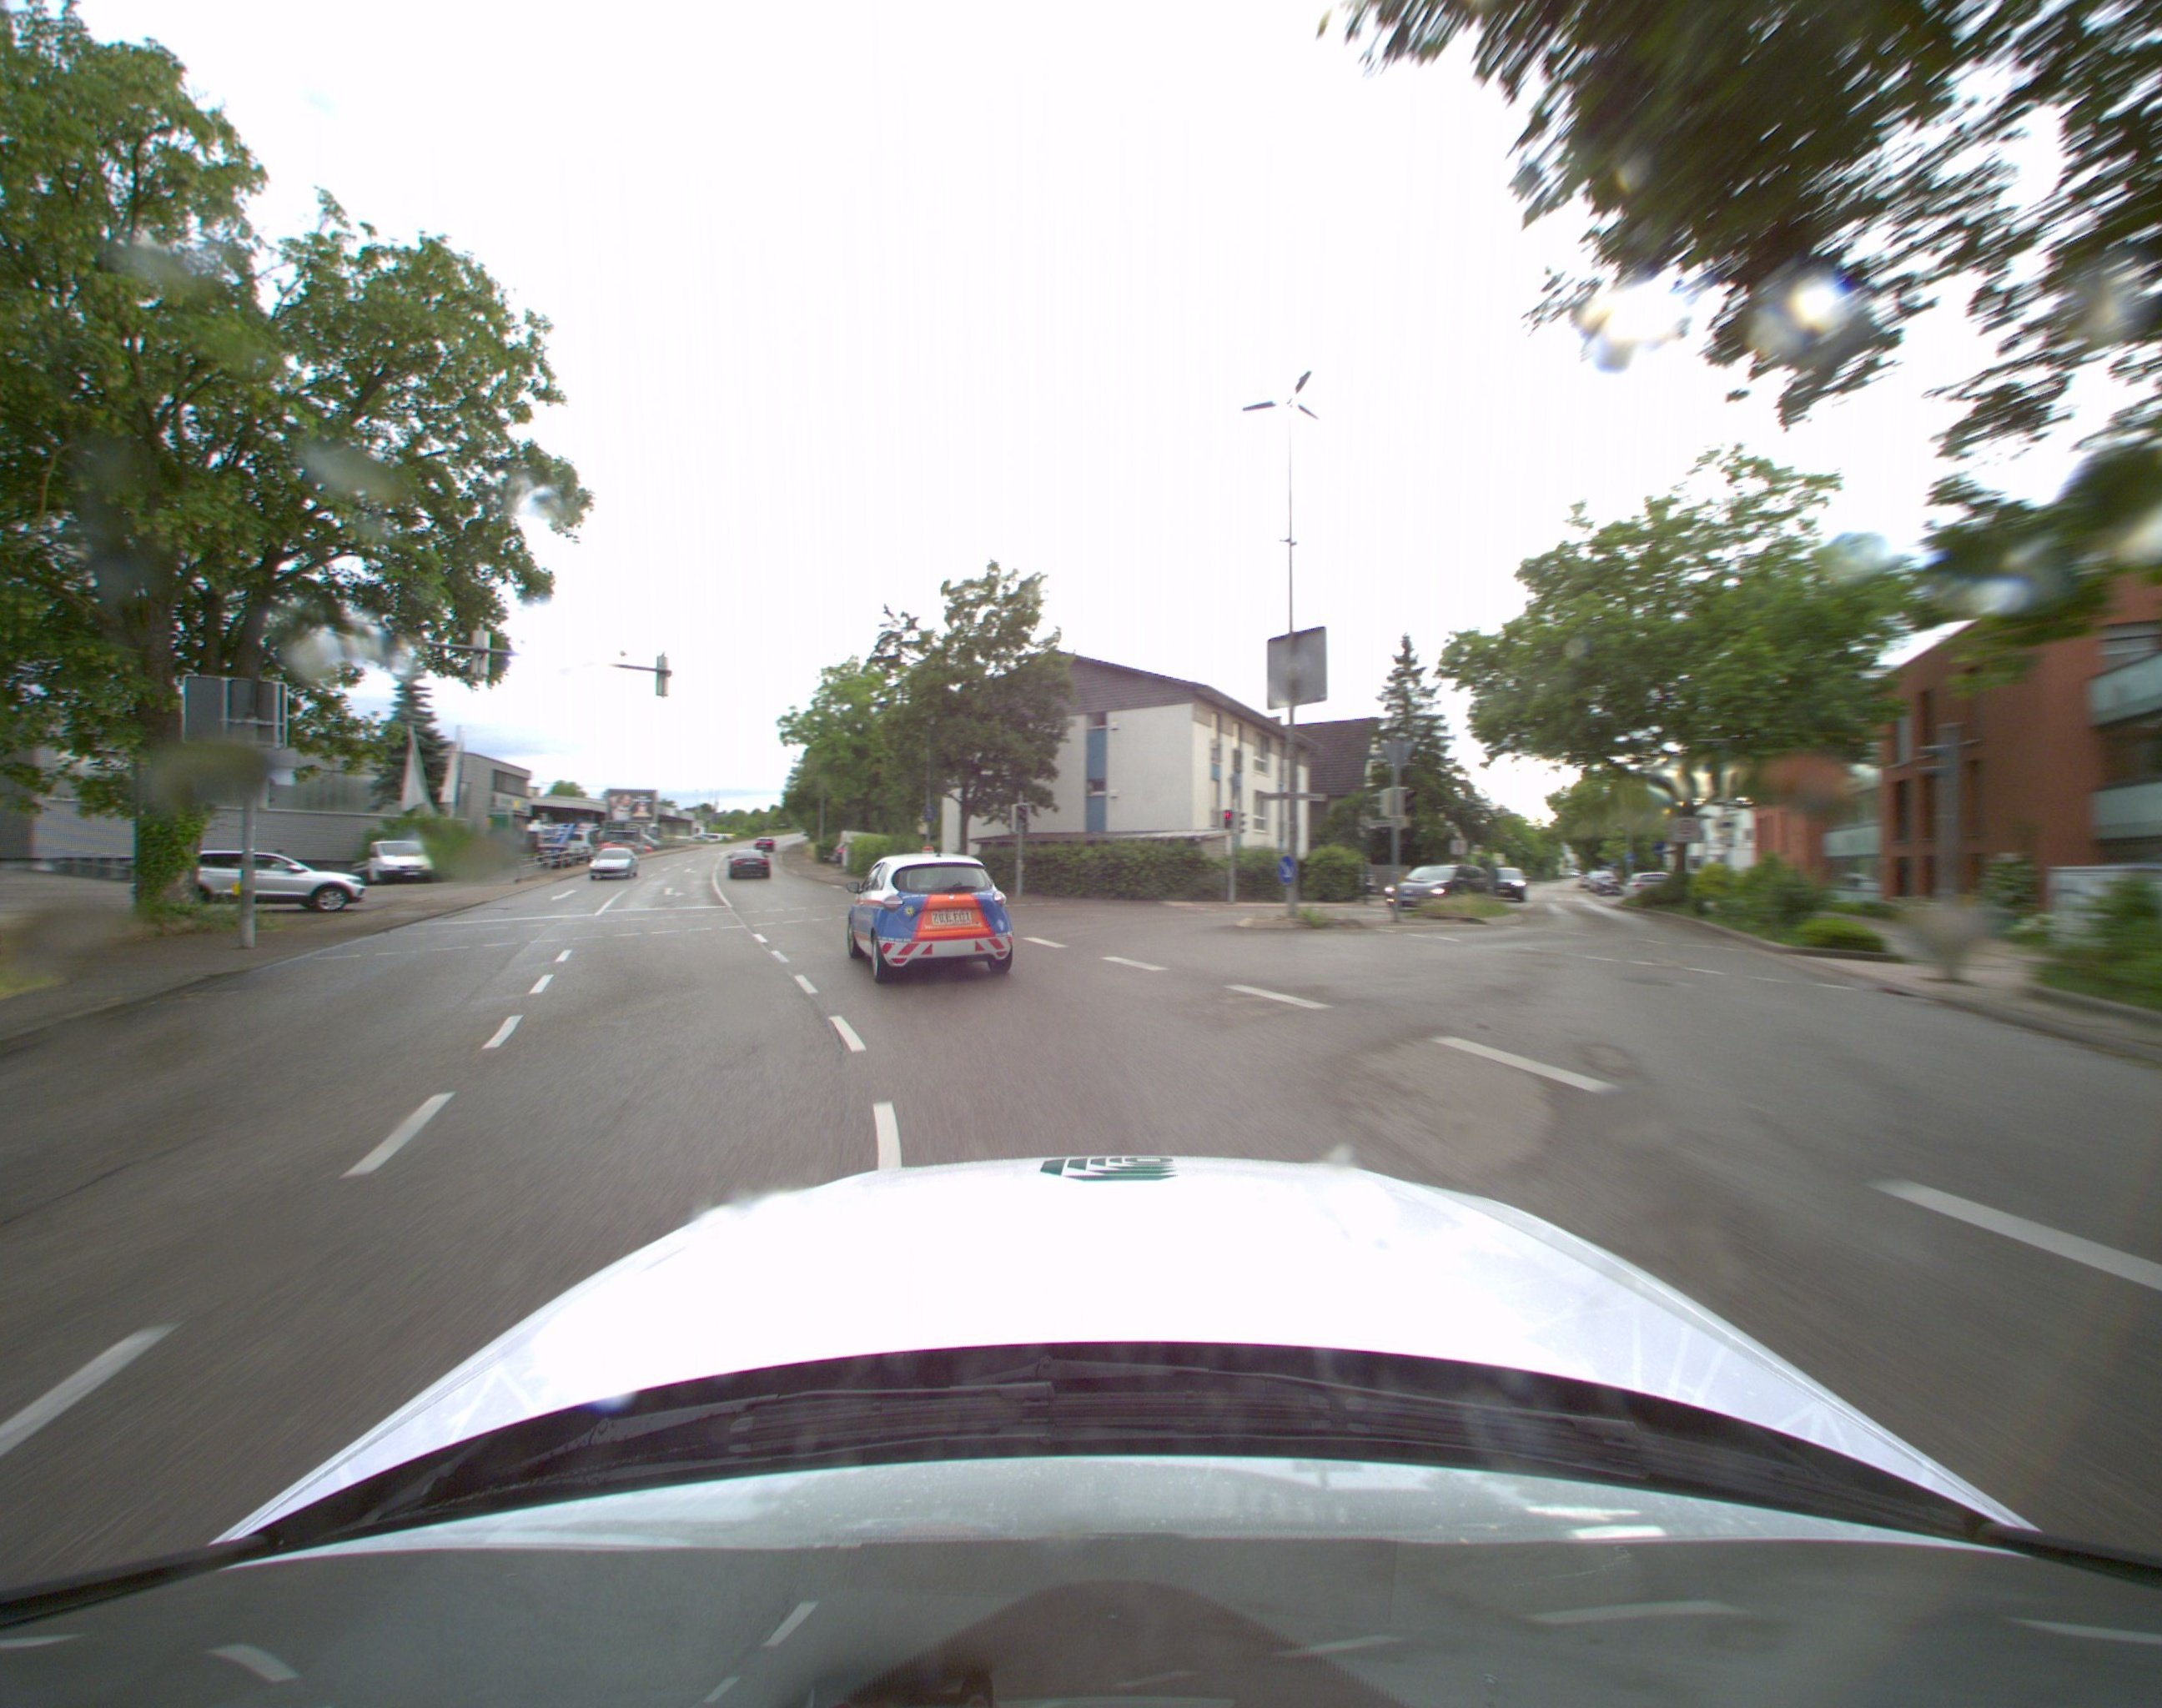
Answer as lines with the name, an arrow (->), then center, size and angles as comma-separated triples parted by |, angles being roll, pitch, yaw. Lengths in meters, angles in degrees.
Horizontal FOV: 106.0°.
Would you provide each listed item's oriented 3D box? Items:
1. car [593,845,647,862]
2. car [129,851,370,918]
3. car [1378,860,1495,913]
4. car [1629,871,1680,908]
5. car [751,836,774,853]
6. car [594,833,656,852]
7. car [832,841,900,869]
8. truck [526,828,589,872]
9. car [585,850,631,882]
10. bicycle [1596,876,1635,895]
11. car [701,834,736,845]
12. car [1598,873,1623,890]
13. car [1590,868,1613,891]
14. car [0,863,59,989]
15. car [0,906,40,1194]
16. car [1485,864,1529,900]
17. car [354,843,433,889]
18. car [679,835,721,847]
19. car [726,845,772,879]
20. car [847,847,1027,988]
car -> -40.871, -0.035, 72.217 | 4.015, 1.376, 1.796 | 1, -1, -33
car -> -21.351, 0.806, 21.088 | 1.737, 1.522, 4.024 | 1, -2, 33
car -> 11.177, 0.996, 25.447 | 1.924, 1.452, 4.324 | 2, -1, 44
car -> 26.661, 1.622, 37.951 | 1.628, 1.512, 4.172 | 0, 0, 30
car -> -32.819, -0.933, 84.003 | 1.999, 1.684, 3.977 | 0, 0, -17
car -> -41.991, -1.020, 75.067 | 4.779, 1.623, 1.800 | 1, -1, -25
car -> -13.641, 0.038, 51.566 | 4.000, 1.723, 1.987 | 0, 1, -20
truck -> -32.243, -0.302, 50.323 | 2.000, 2.539, 5.523 | 1, 1, -19
car -> -22.567, 0.549, 38.929 | 1.594, 1.404, 3.677 | 0, 1, -26
bicycle -> 38.635, 2.268, 58.878 | 2.315, 1.222, 0.742 | 0, 0, 38
car -> -57.523, -2.229, 129.260 | 1.791, 1.623, 4.801 | 0, -1, 40
car -> 45.510, 2.345, 70.051 | 1.628, 1.375, 3.738 | 0, 0, 30
car -> 48.018, 2.341, 75.158 | 1.628, 2.017, 3.738 | 0, 0, 30
car -> -14.947, 0.883, 9.098 | 4.006, 1.510, 1.743 | 0, 1, -25
car -> -5.460, 0.965, 1.823 | 1.711, 1.392, 4.322 | -2, 0, -19
car -> 21.011, 1.340, 40.147 | 1.860, 1.669, 3.736 | 1, 0, 28
car -> -31.910, 0.488, 37.758 | 3.949, 1.994, 2.013 | 1, 1, 38
car -> -51.972, -1.742, 111.108 | 1.791, 1.623, 4.801 | 0, -1, 40
car -> -16.300, 0.351, 40.108 | 2.001, 1.574, 3.972 | 0, 1, -21
car -> -2.178, 0.739, 11.366 | 1.752, 1.581, 3.972 | -1, -1, -21
